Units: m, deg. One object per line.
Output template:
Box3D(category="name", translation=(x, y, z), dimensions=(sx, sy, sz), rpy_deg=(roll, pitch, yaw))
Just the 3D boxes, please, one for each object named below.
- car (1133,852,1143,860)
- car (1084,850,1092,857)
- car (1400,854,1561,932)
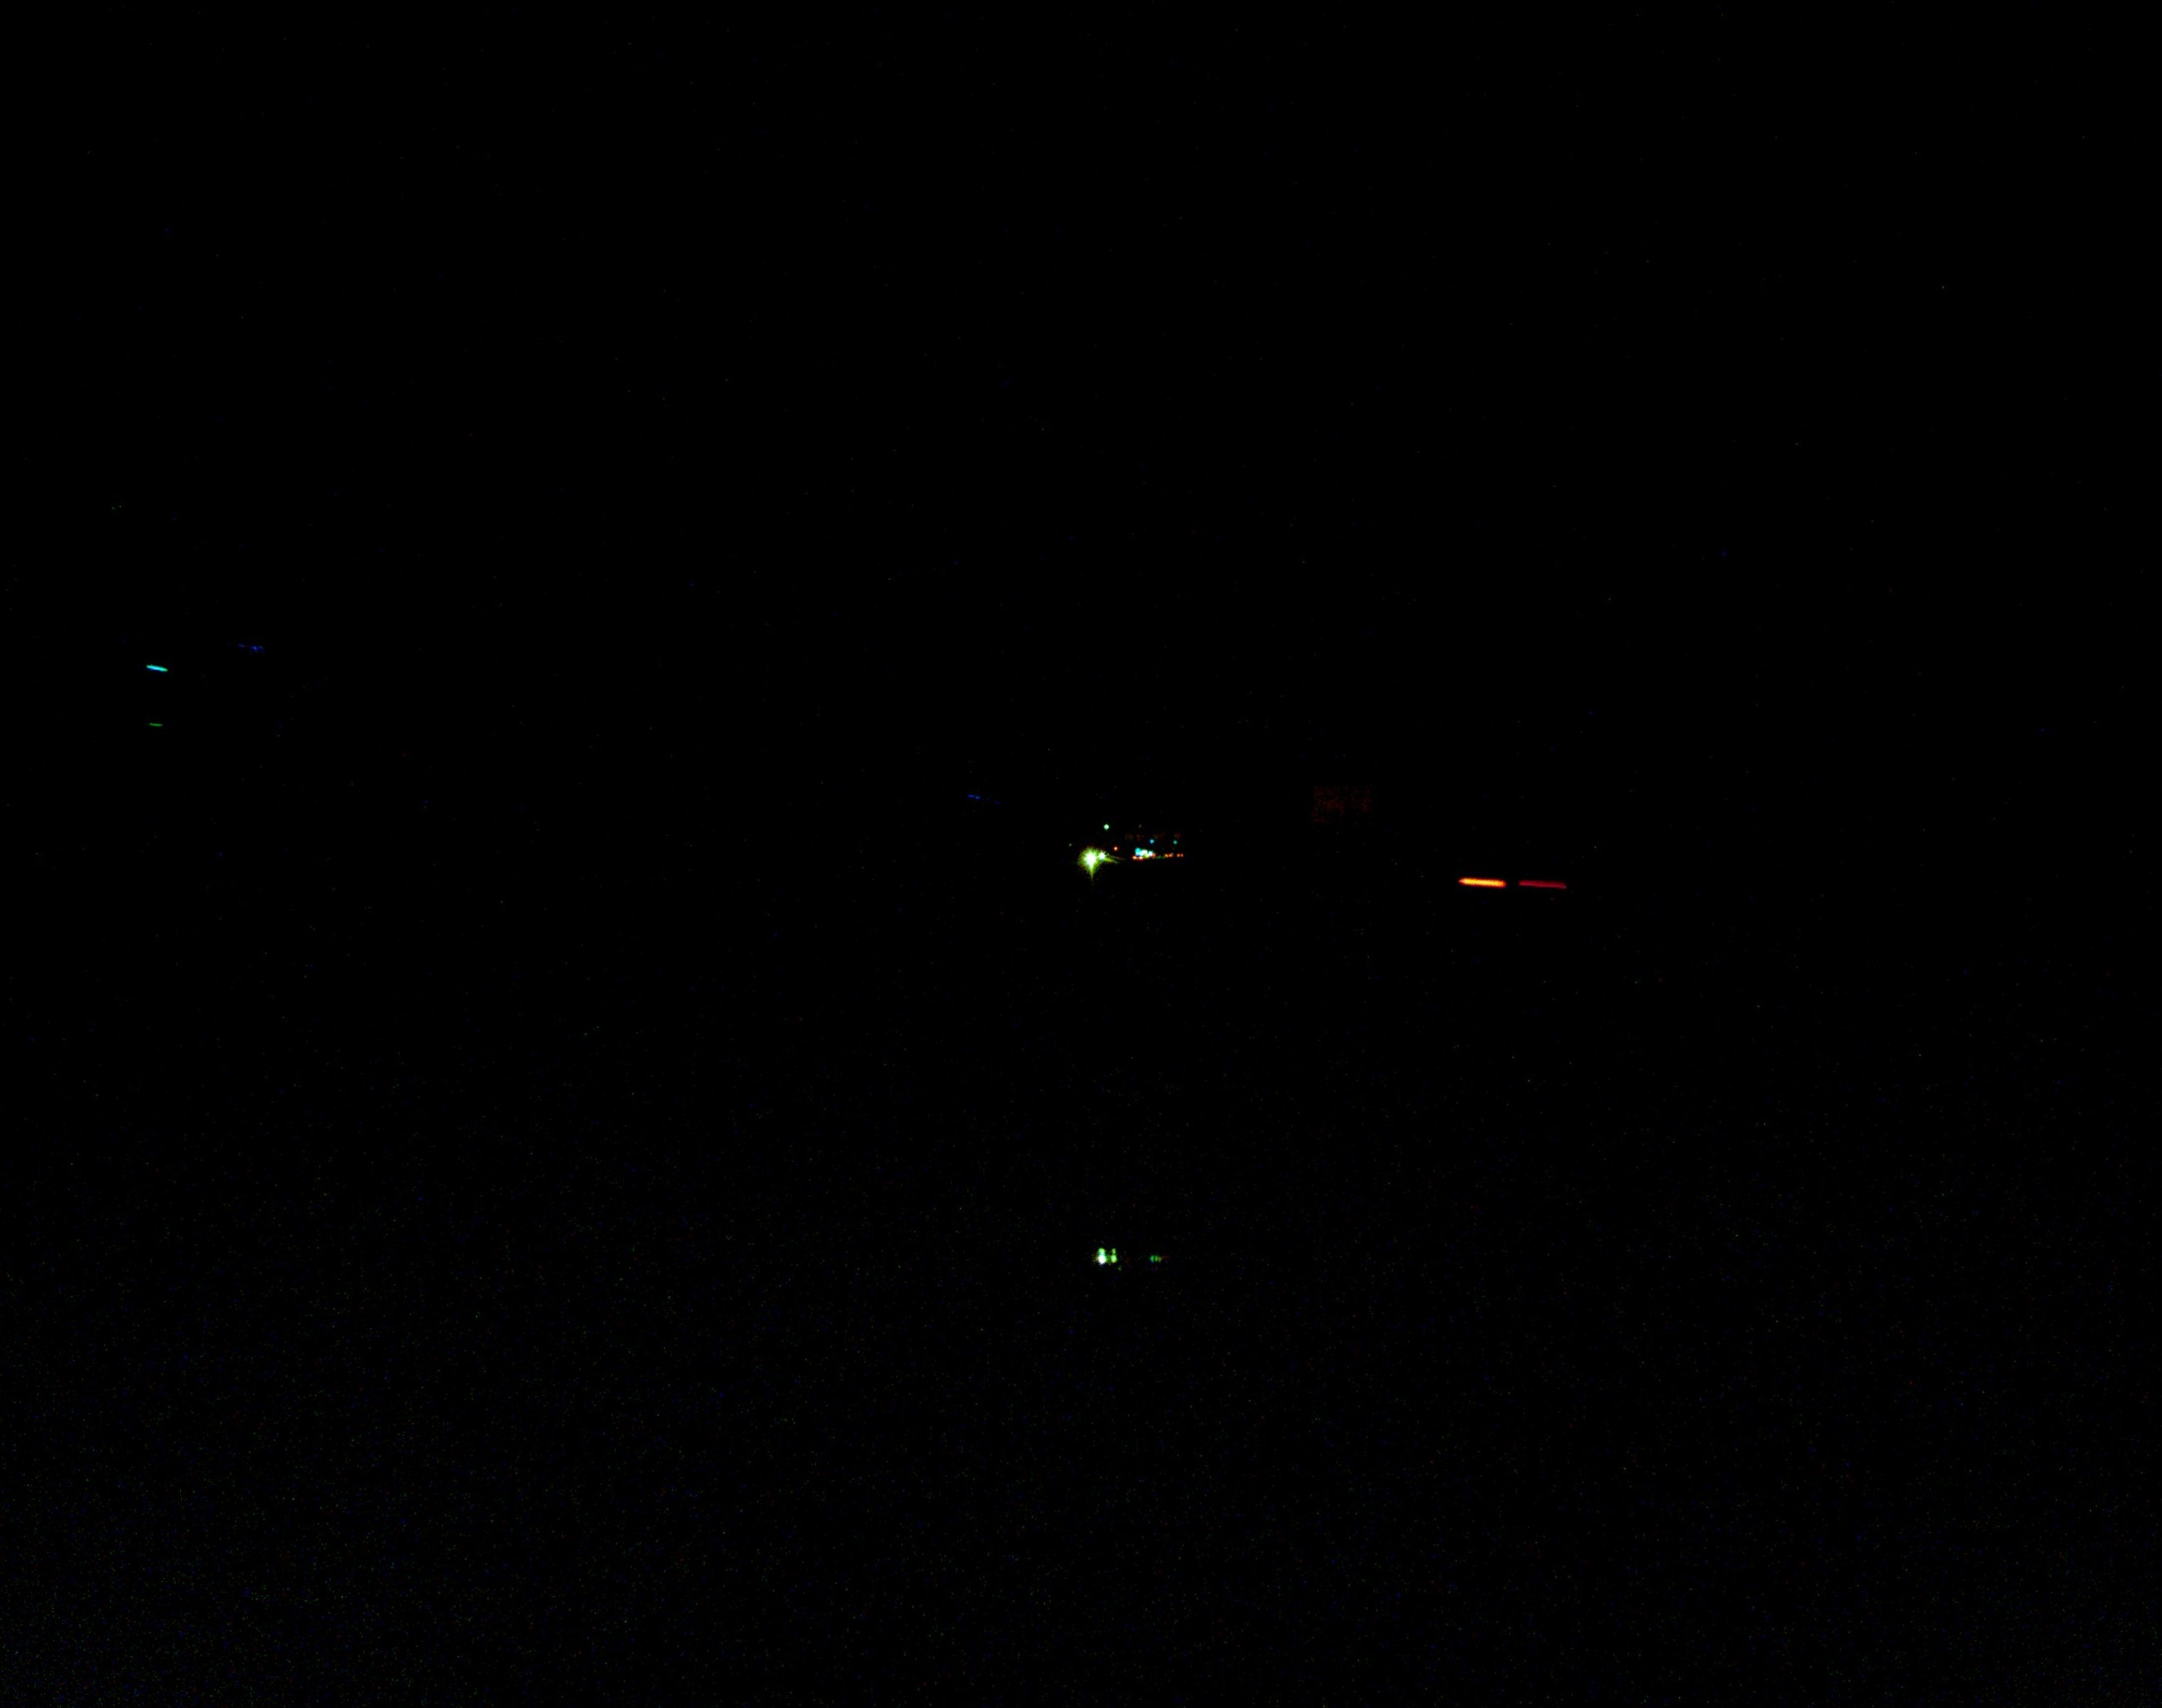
Box3D(category="car", translation=(12.063, 0.405, 160.163), dimensions=(1.724, 1.399, 4.574), rpy_deg=(-2, 1, 1))
Box3D(category="car", translation=(1.409, -0.142, 151.486), dimensions=(1.570, 1.336, 4.166), rpy_deg=(-2, 0, 1))
Box3D(category="car", translation=(9.442, 0.840, 18.365), dimensions=(1.687, 1.578, 4.166), rpy_deg=(-2, 0, 1))
